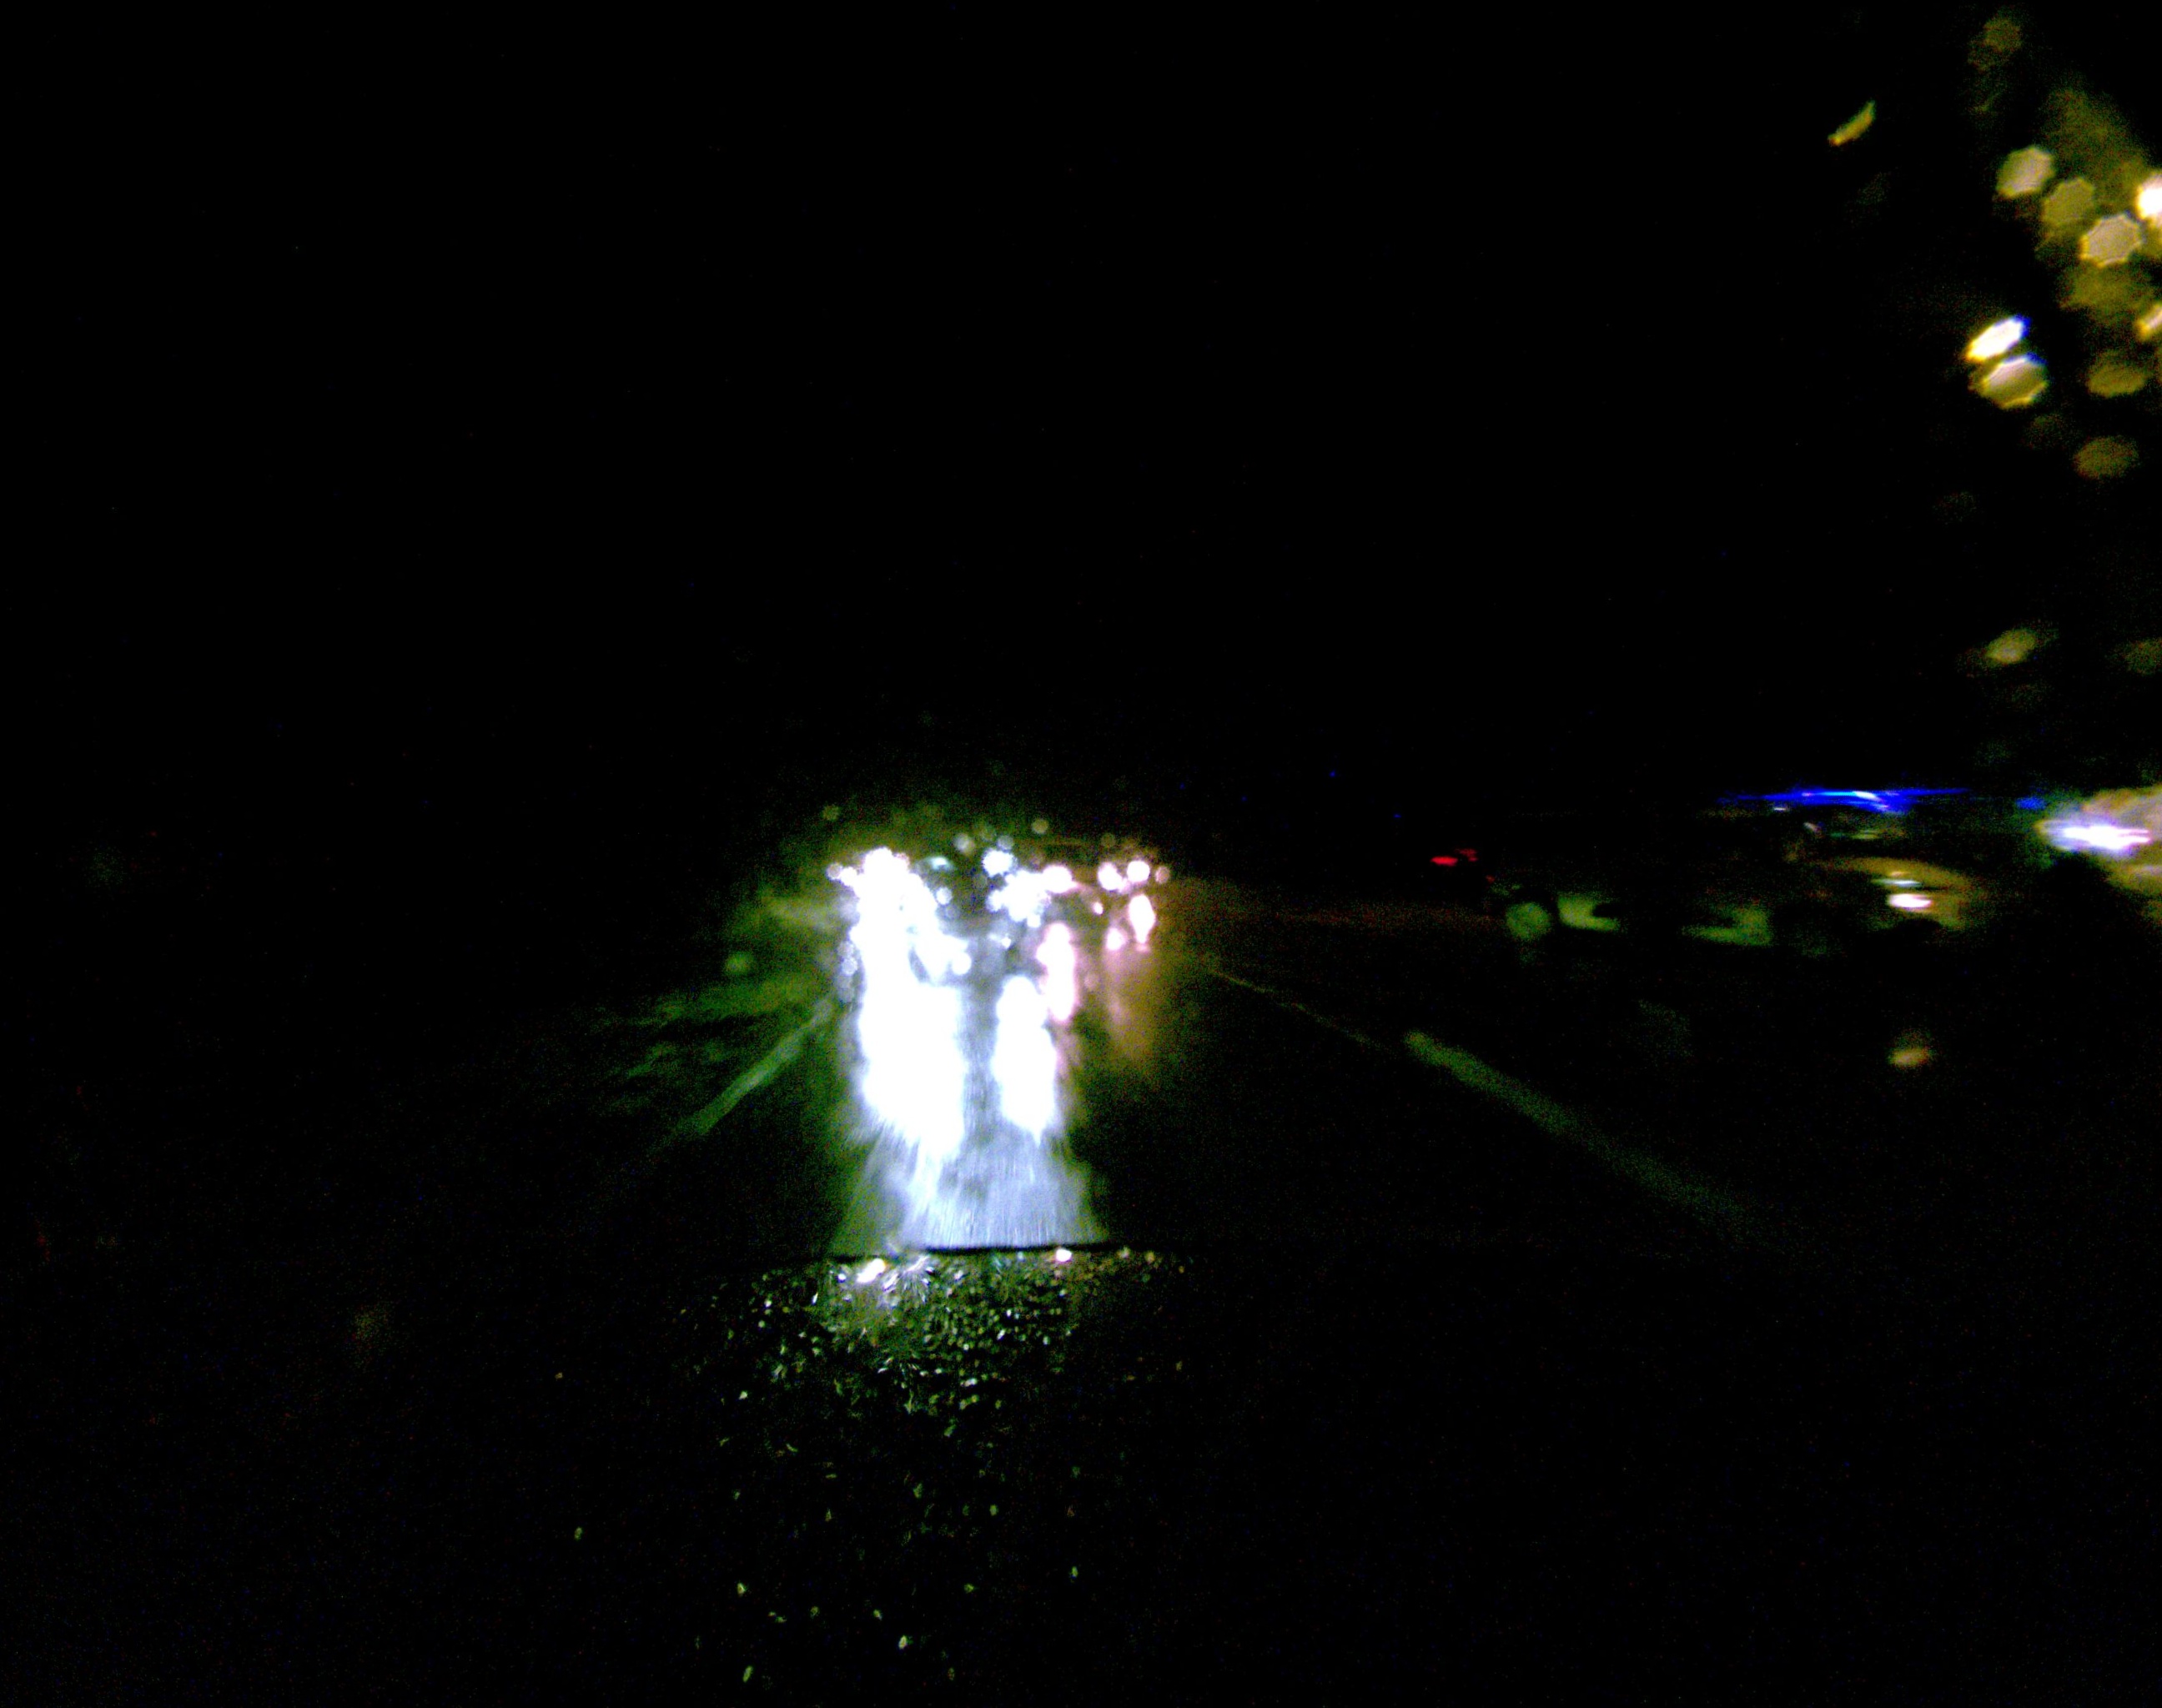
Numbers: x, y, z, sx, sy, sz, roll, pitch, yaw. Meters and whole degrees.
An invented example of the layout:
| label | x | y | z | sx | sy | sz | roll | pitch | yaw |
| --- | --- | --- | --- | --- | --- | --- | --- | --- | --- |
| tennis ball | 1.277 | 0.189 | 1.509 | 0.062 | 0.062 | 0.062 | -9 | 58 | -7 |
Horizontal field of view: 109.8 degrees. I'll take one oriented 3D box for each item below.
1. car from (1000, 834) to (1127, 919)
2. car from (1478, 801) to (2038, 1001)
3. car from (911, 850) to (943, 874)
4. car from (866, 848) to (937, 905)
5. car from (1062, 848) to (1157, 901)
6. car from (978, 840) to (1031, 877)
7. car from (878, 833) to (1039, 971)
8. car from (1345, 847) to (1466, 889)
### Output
| label | x | y | z | sx | sy | sz | roll | pitch | yaw |
| --- | --- | --- | --- | --- | --- | --- | --- | --- | --- |
| car | -0.595 | 0.448 | 19.244 | 1.784 | 1.820 | 4.549 | -3 | 2 | -20 |
| car | 7.708 | 0.411 | 9.327 | 2.003 | 1.783 | 4.711 | -2 | 1 | -27 |
| car | -10.428 | 0.504 | 51.276 | 1.682 | 1.437 | 4.168 | -3 | 2 | -17 |
| car | -5.690 | 0.663 | 23.803 | 1.689 | 1.523 | 3.981 | -4 | 0 | -19 |
| car | 0.837 | 0.643 | 25.350 | 1.790 | 1.586 | 4.231 | 1 | 0 | -18 |
| car | -3.922 | 0.208 | 38.341 | 1.850 | 1.696 | 4.123 | -2 | 1 | -17 |
| car | -2.312 | 0.637 | 13.242 | 2.006 | 1.915 | 4.361 | -3 | 2 | -19 |
| car | 12.384 | 0.510 | 29.235 | 1.730 | 1.406 | 4.019 | -4 | 2 | -29 |
